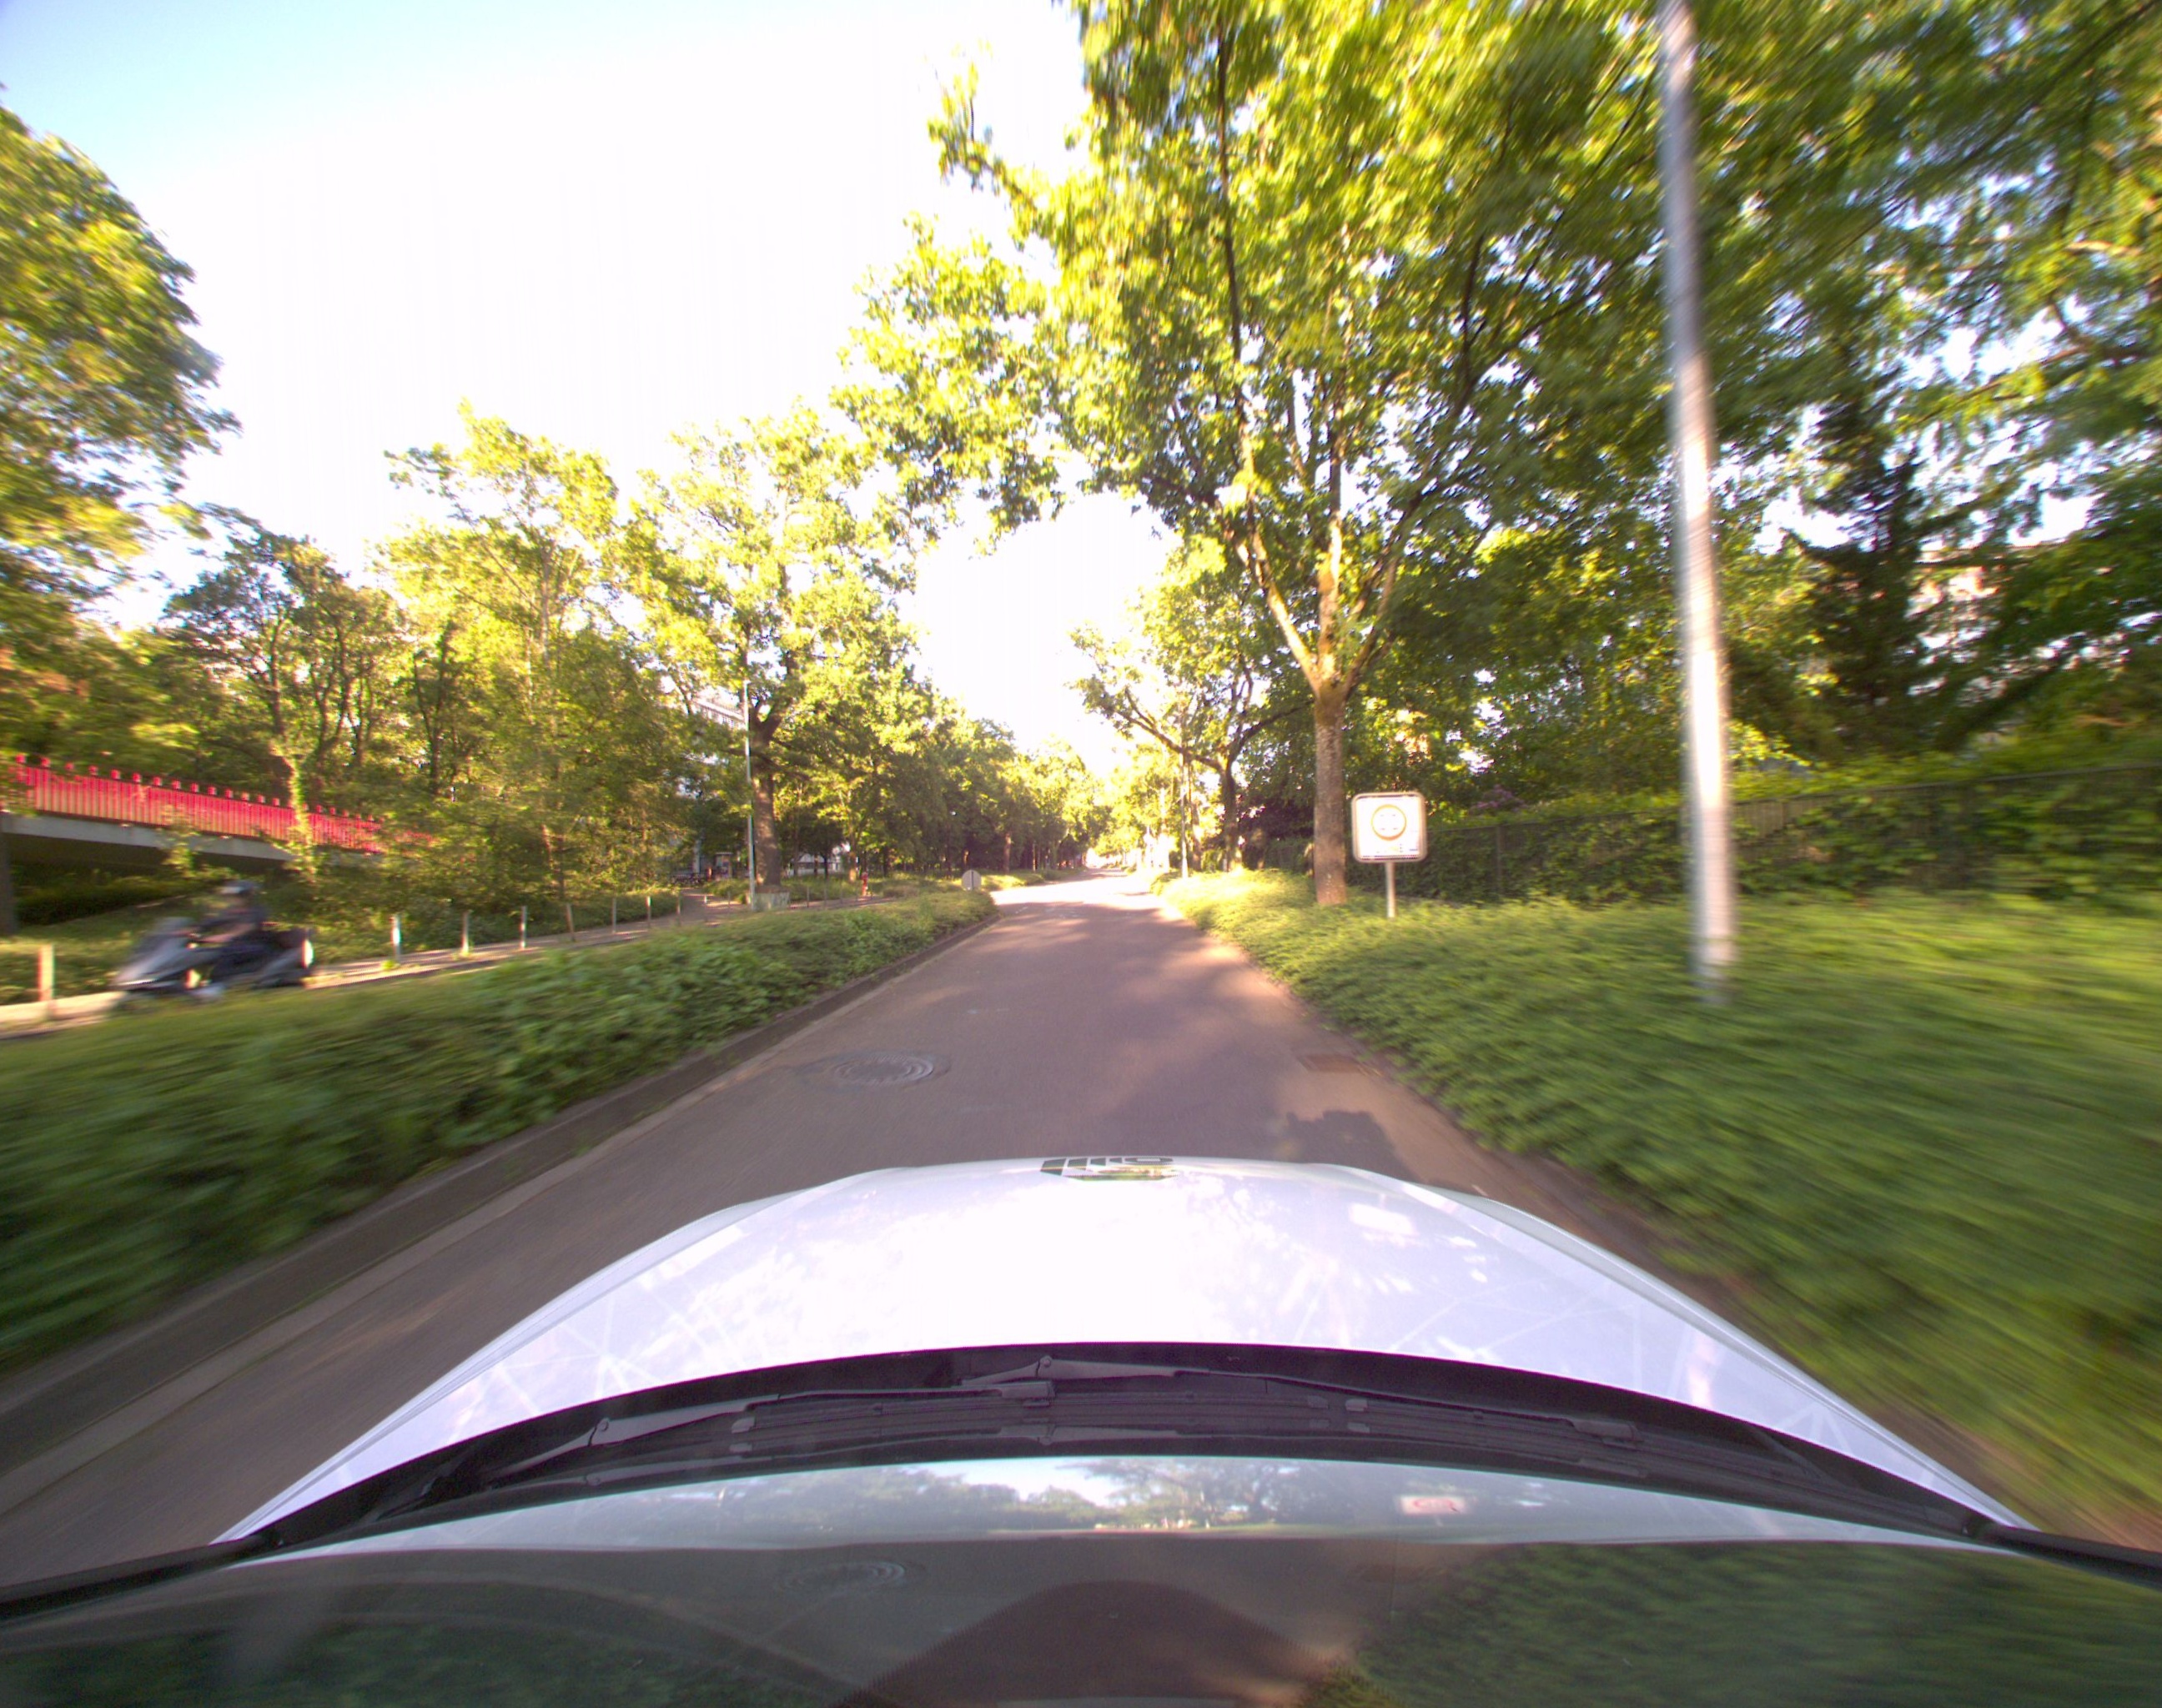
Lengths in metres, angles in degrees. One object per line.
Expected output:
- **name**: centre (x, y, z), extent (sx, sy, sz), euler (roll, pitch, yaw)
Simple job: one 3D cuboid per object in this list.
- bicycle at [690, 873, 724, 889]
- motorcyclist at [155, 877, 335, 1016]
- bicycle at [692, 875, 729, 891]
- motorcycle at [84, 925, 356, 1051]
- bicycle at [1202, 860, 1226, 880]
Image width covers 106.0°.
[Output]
- **bicycle**: centre (-27.422, 1.940, 59.716), extent (0.531, 1.071, 2.648), euler (2, 1, 19)
- **motorcyclist**: centre (-9.659, 1.028, 9.466), extent (0.944, 1.471, 1.071), euler (-2, -1, 3)
- **bicycle**: centre (-26.608, 2.060, 58.518), extent (0.530, 1.071, 2.444), euler (2, 1, 41)
- **motorcycle**: centre (-9.646, 1.444, 9.301), extent (0.520, 1.069, 2.290), euler (-2, -1, 5)
- **bicycle**: centre (9.081, 1.088, 55.591), extent (0.875, 1.200, 2.340), euler (-4, -1, 27)
